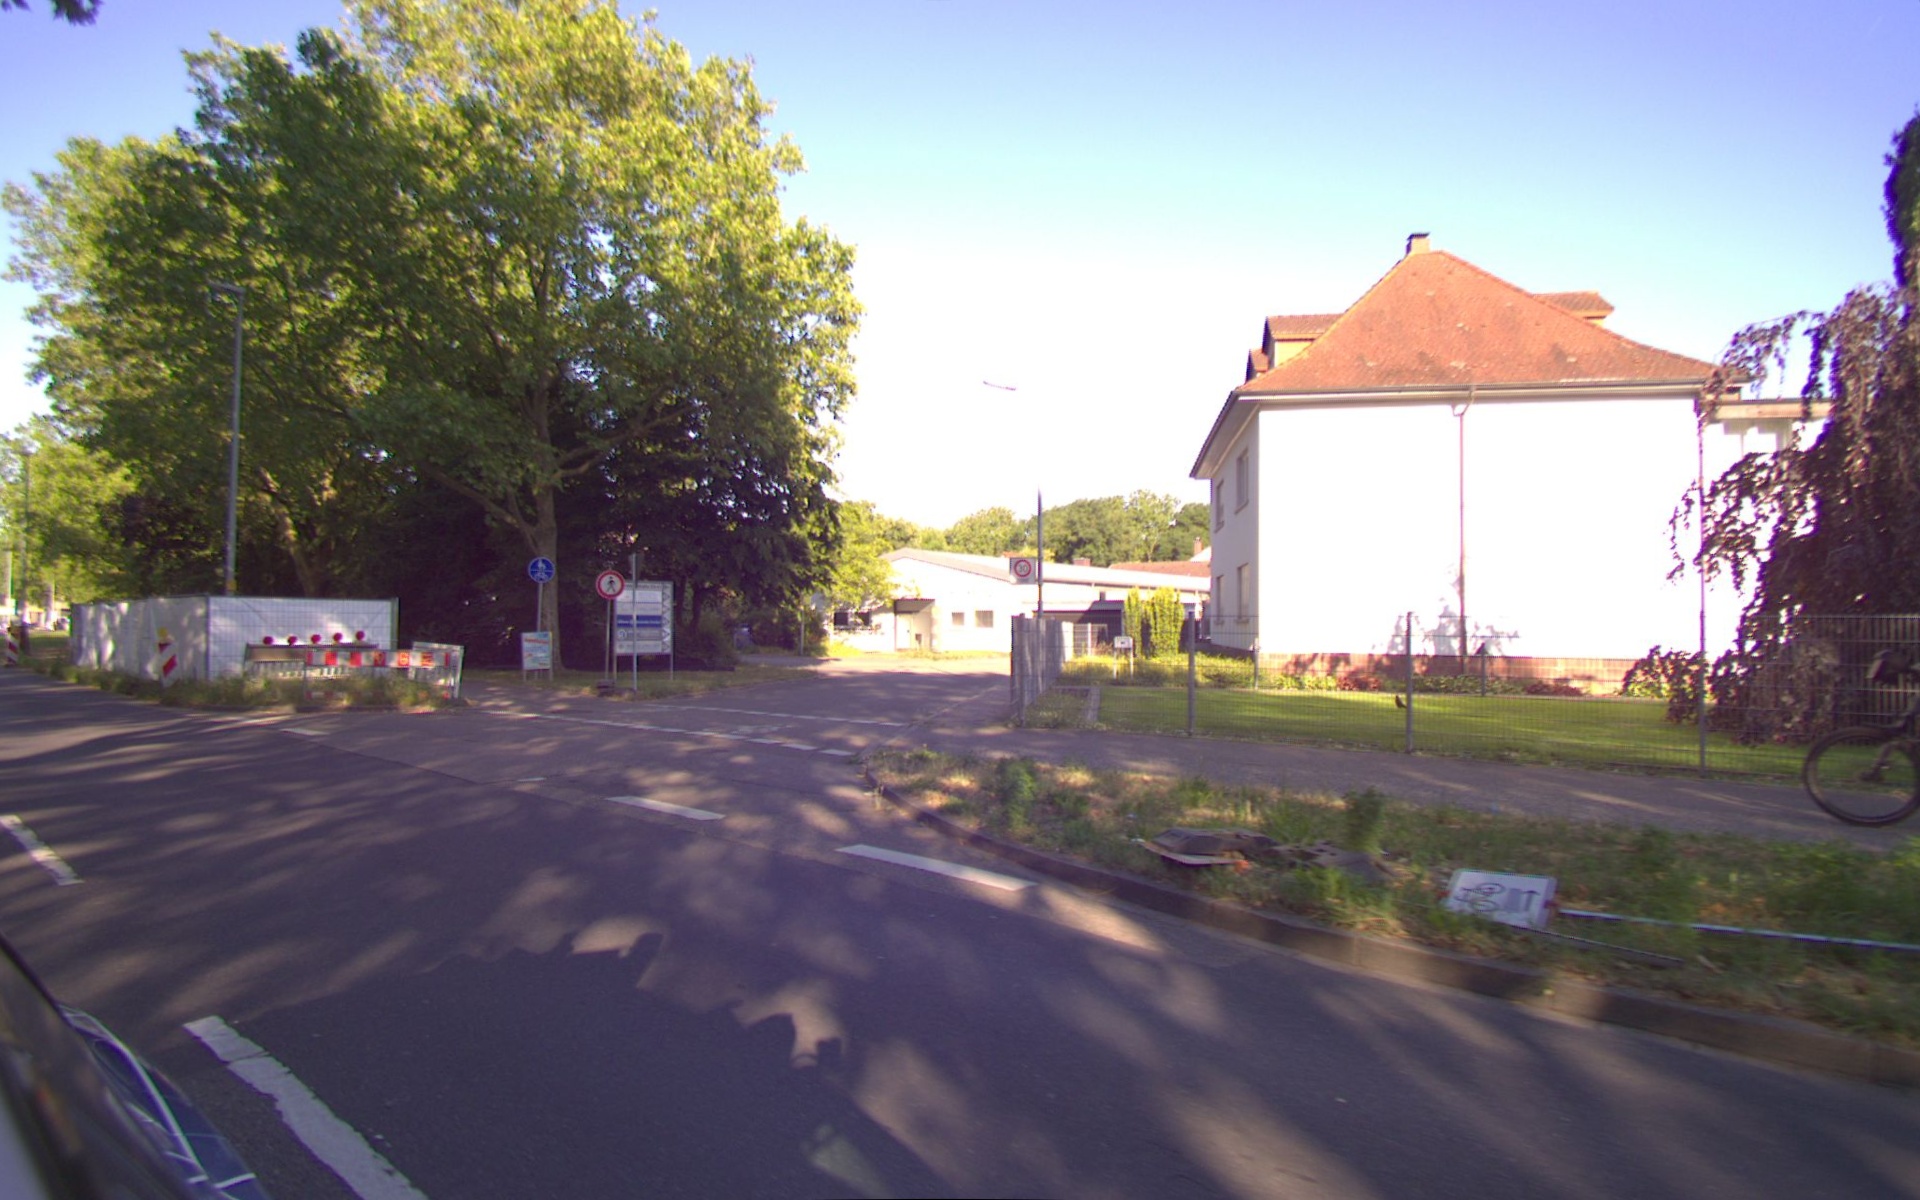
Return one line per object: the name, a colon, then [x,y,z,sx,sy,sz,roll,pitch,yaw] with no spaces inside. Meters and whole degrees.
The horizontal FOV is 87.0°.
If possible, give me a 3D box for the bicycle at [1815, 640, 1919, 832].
bicycle: [6.934,0.897,6.553,2.106,1.255,0.573,-1,-3,40]
